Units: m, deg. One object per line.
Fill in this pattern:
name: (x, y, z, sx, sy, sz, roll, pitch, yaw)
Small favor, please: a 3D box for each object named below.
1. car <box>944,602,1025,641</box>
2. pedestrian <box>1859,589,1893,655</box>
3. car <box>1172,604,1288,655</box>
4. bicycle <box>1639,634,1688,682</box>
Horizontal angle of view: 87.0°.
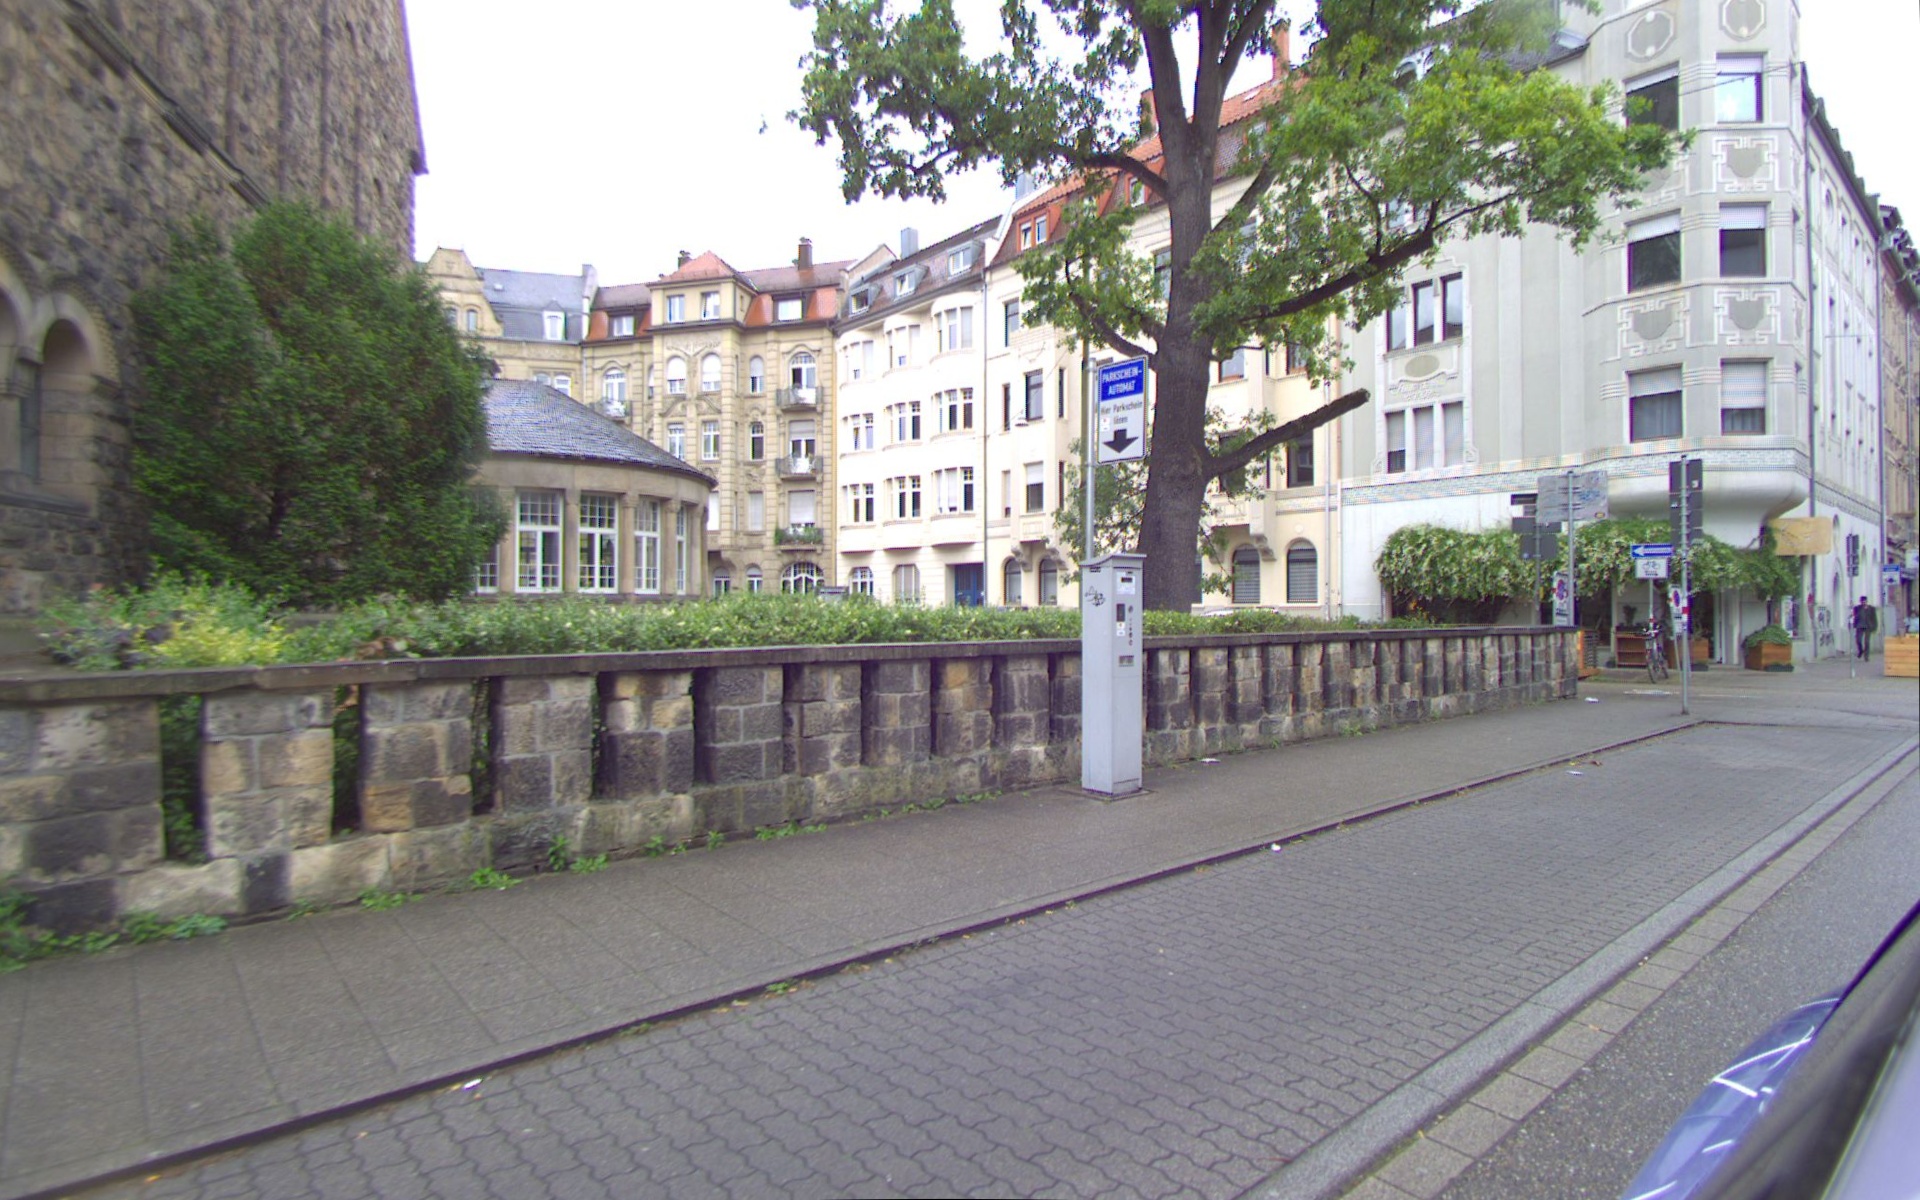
car: (0.915, 0.812, 39.279, 1.421, 1.427, 3.271, 1, 0, -37)
pedestrian: (26.657, 0.620, 29.443, 0.681, 1.896, 0.645, 1, 0, -41)
car: (8.221, 0.876, 31.013, 1.421, 1.427, 3.271, 1, 0, -37)
bicycle: (15.449, 1.253, 22.206, 1.989, 0.904, 0.390, -2, 2, -41)
